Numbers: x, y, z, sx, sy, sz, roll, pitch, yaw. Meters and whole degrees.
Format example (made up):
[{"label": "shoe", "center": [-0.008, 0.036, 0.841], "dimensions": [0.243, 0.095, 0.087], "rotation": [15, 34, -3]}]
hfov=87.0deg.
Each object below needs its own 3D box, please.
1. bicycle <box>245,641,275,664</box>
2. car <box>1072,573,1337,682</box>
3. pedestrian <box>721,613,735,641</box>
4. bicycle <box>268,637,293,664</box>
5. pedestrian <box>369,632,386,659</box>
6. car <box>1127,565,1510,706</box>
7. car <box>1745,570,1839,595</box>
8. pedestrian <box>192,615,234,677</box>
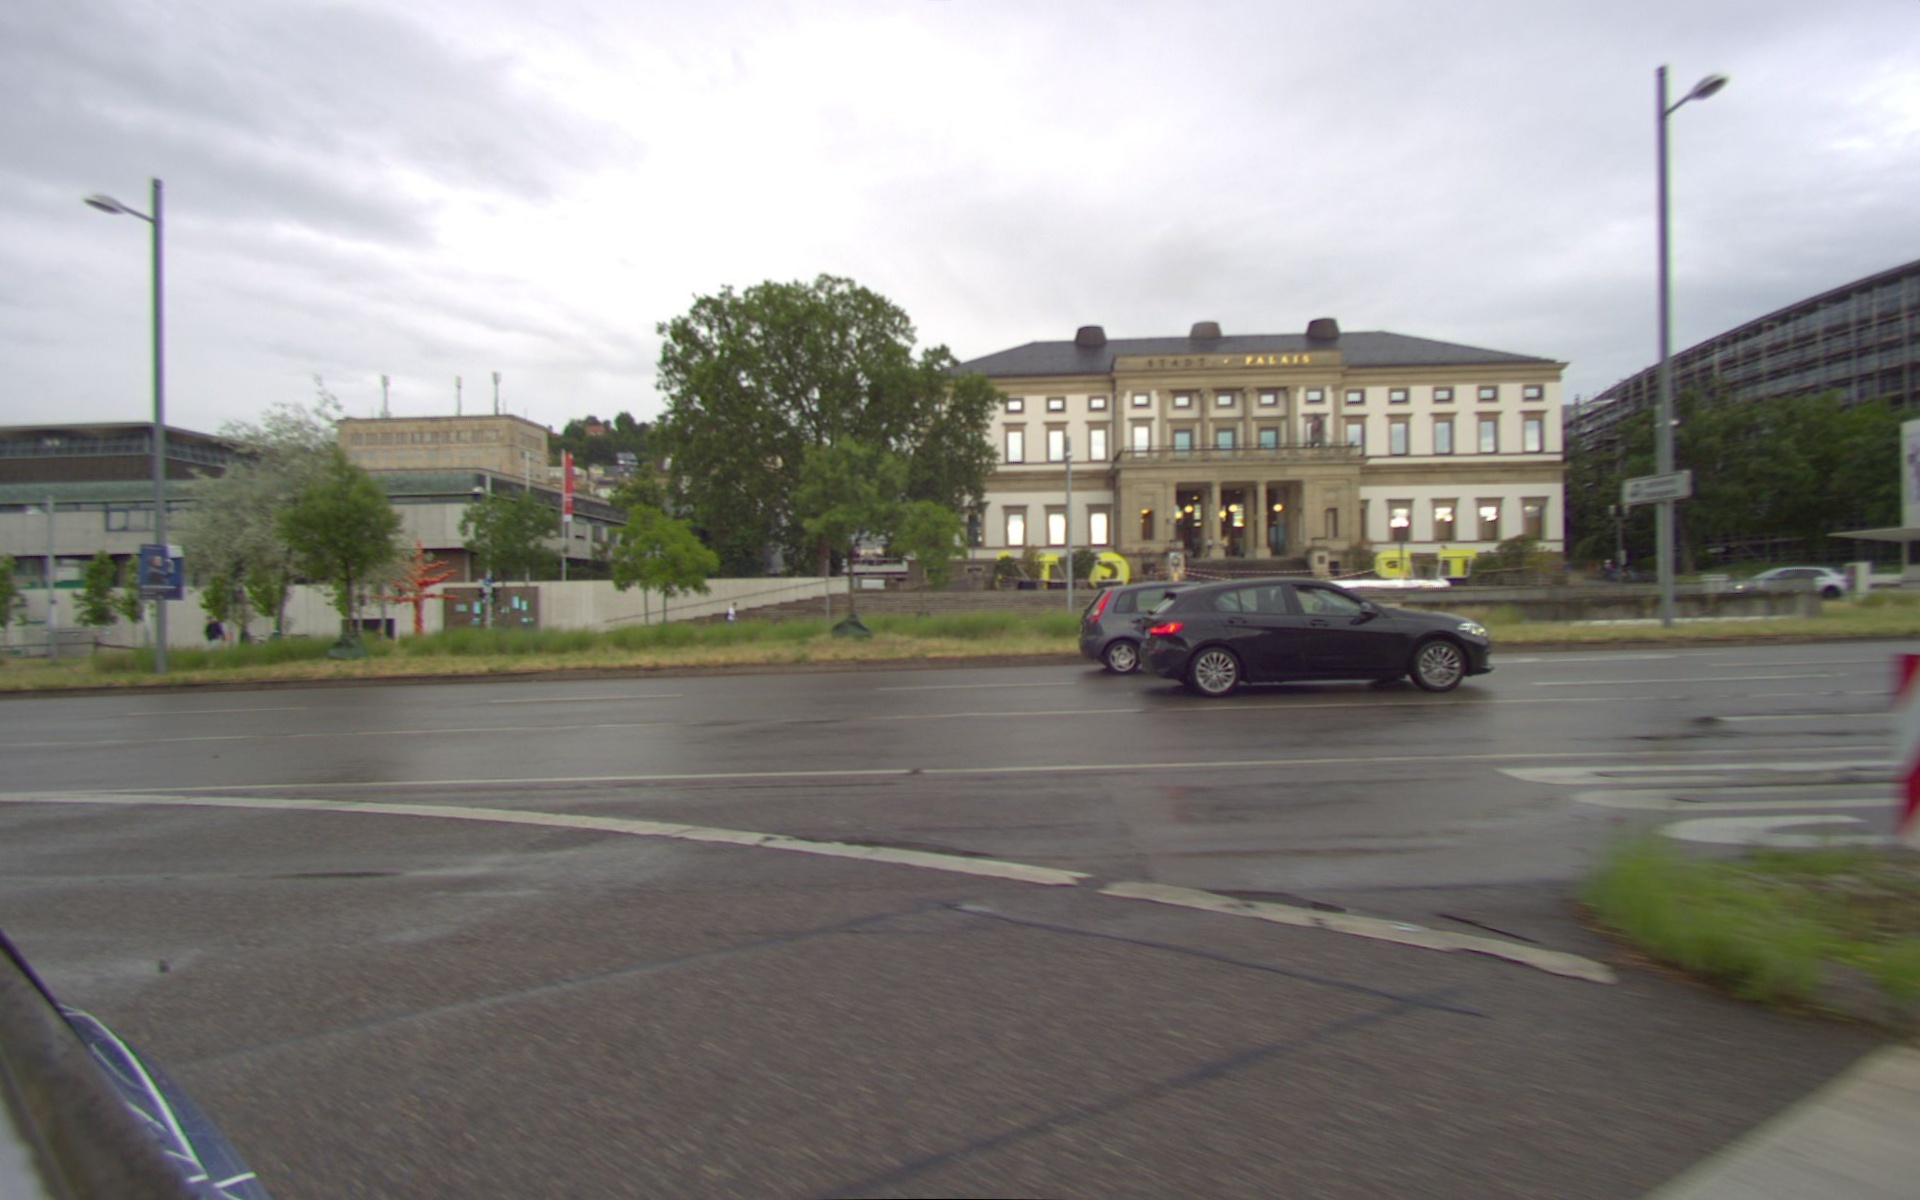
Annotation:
[{"label": "bicycle", "center": [-38.047, 2.843, 55.021], "dimensions": [0.522, 1.170, 1.705], "rotation": [-1, 1, -4]}, {"label": "car", "center": [3.777, 0.417, 16.147], "dimensions": [3.856, 1.426, 1.544], "rotation": [-4, 1, 8]}, {"label": "pedestrian", "center": [-12.278, 1.414, 53.632], "dimensions": [0.624, 1.433, 0.493], "rotation": [-1, 1, 2]}, {"label": "bicycle", "center": [-36.327, 2.692, 54.105], "dimensions": [0.549, 1.317, 1.484], "rotation": [-1, 1, -9]}, {"label": "pedestrian", "center": [-30.179, 2.352, 52.457], "dimensions": [0.572, 1.393, 0.466], "rotation": [0, 1, 18]}, {"label": "car", "center": [4.337, 0.415, 12.799], "dimensions": [4.168, 1.482, 1.757], "rotation": [-3, 1, 4]}, {"label": "car", "center": [32.468, -0.672, 39.560], "dimensions": [2.617, 0.947, 1.038], "rotation": [0, 1, 19]}, {"label": "pedestrian", "center": [-26.944, 1.657, 36.522], "dimensions": [0.717, 2.106, 0.768], "rotation": [-7, 0, 5]}]
